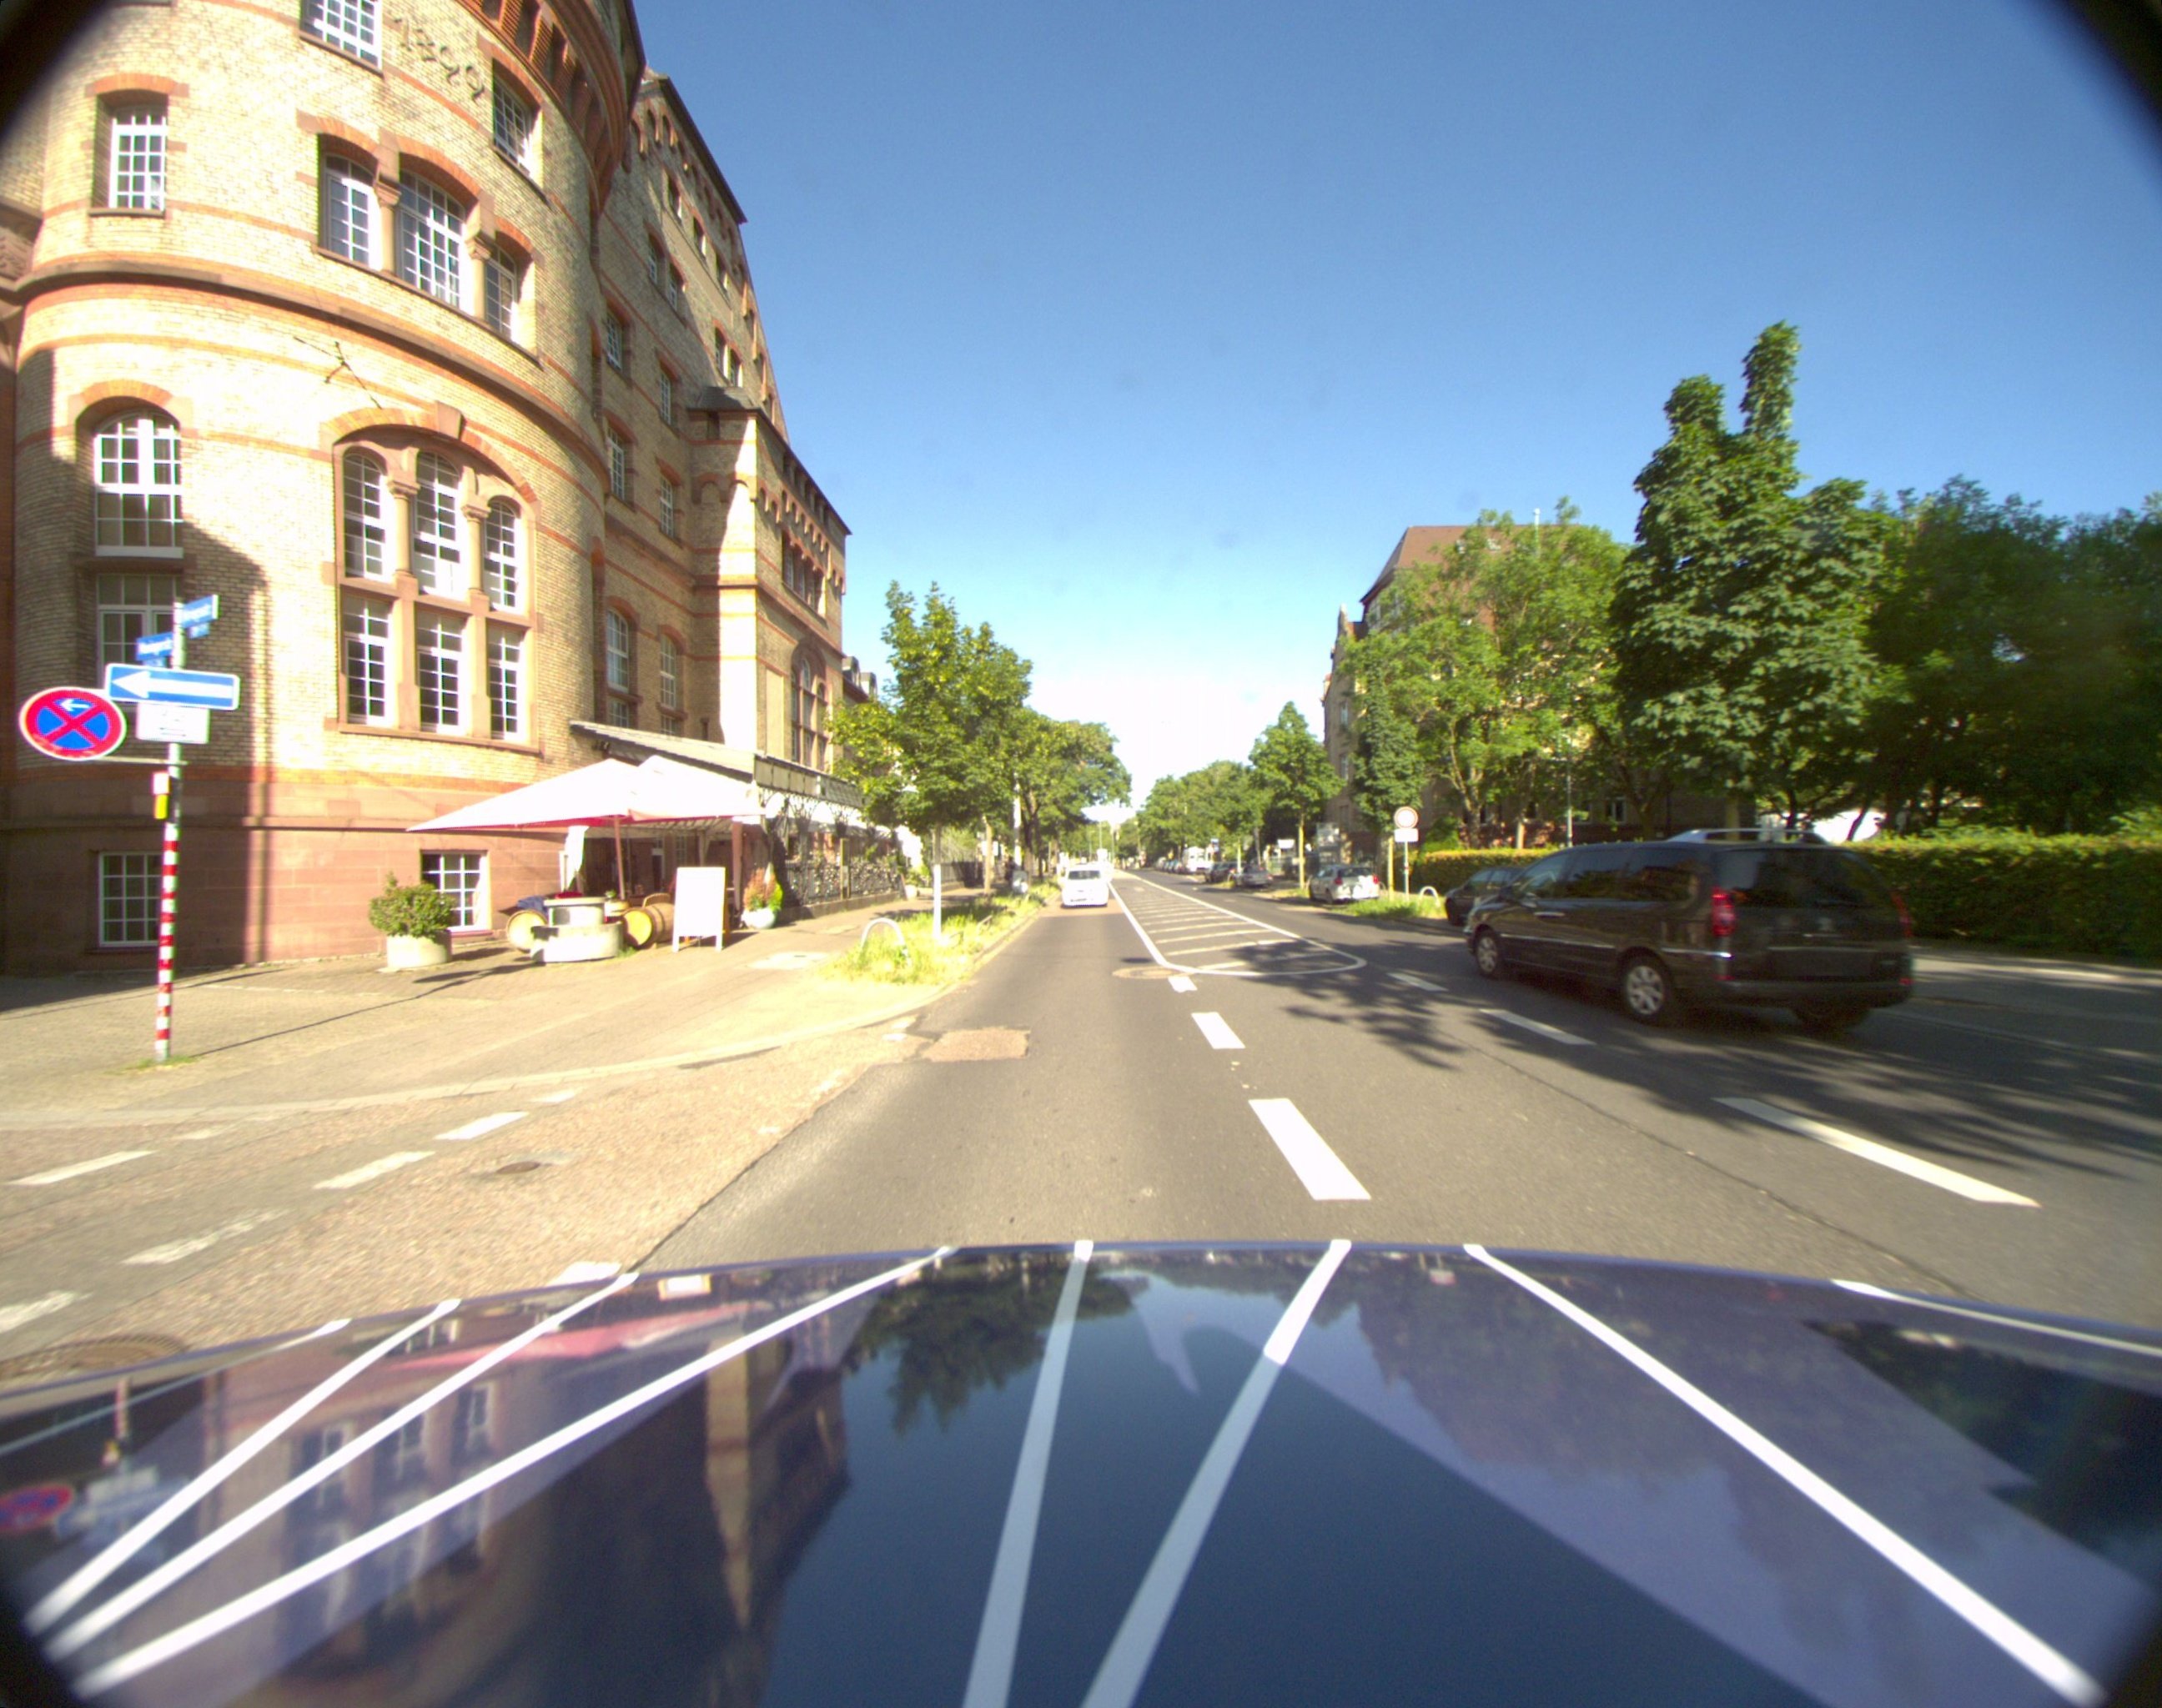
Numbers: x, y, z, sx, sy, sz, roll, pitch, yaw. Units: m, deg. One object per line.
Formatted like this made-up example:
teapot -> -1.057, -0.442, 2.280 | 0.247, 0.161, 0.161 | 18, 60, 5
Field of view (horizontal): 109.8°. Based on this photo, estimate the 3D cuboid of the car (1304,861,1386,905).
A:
car -> 9.505, 1.014, 27.689 | 1.692, 1.375, 4.192 | -3, 0, 4

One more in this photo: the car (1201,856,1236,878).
car -> 10.283, 0.970, 57.210 | 1.860, 1.419, 4.720 | -5, 0, 2

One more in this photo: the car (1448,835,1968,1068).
car -> 6.059, 0.787, 8.300 | 1.860, 1.814, 4.610 | 1, 0, 0

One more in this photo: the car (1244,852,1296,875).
car -> 16.552, 0.821, 66.664 | 4.150, 1.660, 1.996 | -3, -1, -32

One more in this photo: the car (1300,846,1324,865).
car -> 24.896, 0.122, 81.748 | 1.860, 1.903, 4.459 | 1, 2, 25

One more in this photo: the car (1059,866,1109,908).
car -> 0.173, 1.194, 28.829 | 1.652, 1.449, 3.898 | -1, 0, 4

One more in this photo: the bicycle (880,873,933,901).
bicycle -> -7.734, 1.470, 33.745 | 2.202, 1.172, 0.687 | -1, 1, -5

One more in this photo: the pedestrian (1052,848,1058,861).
pedestrian -> -3.582, 0.065, 105.193 | 0.696, 1.649, 0.820 | 2, 1, 0

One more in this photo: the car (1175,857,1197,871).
car -> 11.494, 1.071, 83.619 | 1.698, 1.448, 4.663 | 1, 0, 0

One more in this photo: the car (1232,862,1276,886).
car -> 9.845, 1.125, 43.542 | 1.682, 1.248, 4.015 | -2, 0, 1

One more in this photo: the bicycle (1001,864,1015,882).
bicycle -> -4.889, 1.286, 51.217 | 0.654, 1.169, 1.843 | 2, -1, 2

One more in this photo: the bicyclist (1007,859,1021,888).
bicyclist -> -3.827, 1.107, 43.238 | 0.702, 1.590, 0.955 | -1, 1, -1

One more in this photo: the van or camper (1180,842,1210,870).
van or camper -> 11.701, 0.262, 78.144 | 2.222, 2.723, 6.089 | -1, 0, 1

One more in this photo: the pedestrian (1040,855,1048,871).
pedestrian -> -4.252, 1.042, 87.440 | 0.749, 1.777, 0.811 | 2, 0, 1

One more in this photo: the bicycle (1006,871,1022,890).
bicycle -> -3.814, 1.489, 43.353 | 0.687, 1.021, 2.095 | -1, 0, 0

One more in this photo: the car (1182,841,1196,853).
car -> 14.547, -0.911, 102.589 | 1.467, 1.493, 3.959 | 1, 0, 1

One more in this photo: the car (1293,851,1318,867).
car -> 22.829, 0.485, 77.191 | 1.860, 1.504, 3.535 | 1, 1, 25

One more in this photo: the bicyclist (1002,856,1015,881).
bicyclist -> -4.883, 0.978, 51.167 | 0.647, 1.685, 0.889 | 2, 0, 2

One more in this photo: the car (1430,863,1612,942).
car -> 9.394, 0.968, 16.639 | 1.716, 1.450, 4.073 | -2, 0, 2

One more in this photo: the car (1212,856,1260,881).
car -> 10.251, 0.943, 50.697 | 1.861, 1.485, 4.704 | -4, 0, -4
